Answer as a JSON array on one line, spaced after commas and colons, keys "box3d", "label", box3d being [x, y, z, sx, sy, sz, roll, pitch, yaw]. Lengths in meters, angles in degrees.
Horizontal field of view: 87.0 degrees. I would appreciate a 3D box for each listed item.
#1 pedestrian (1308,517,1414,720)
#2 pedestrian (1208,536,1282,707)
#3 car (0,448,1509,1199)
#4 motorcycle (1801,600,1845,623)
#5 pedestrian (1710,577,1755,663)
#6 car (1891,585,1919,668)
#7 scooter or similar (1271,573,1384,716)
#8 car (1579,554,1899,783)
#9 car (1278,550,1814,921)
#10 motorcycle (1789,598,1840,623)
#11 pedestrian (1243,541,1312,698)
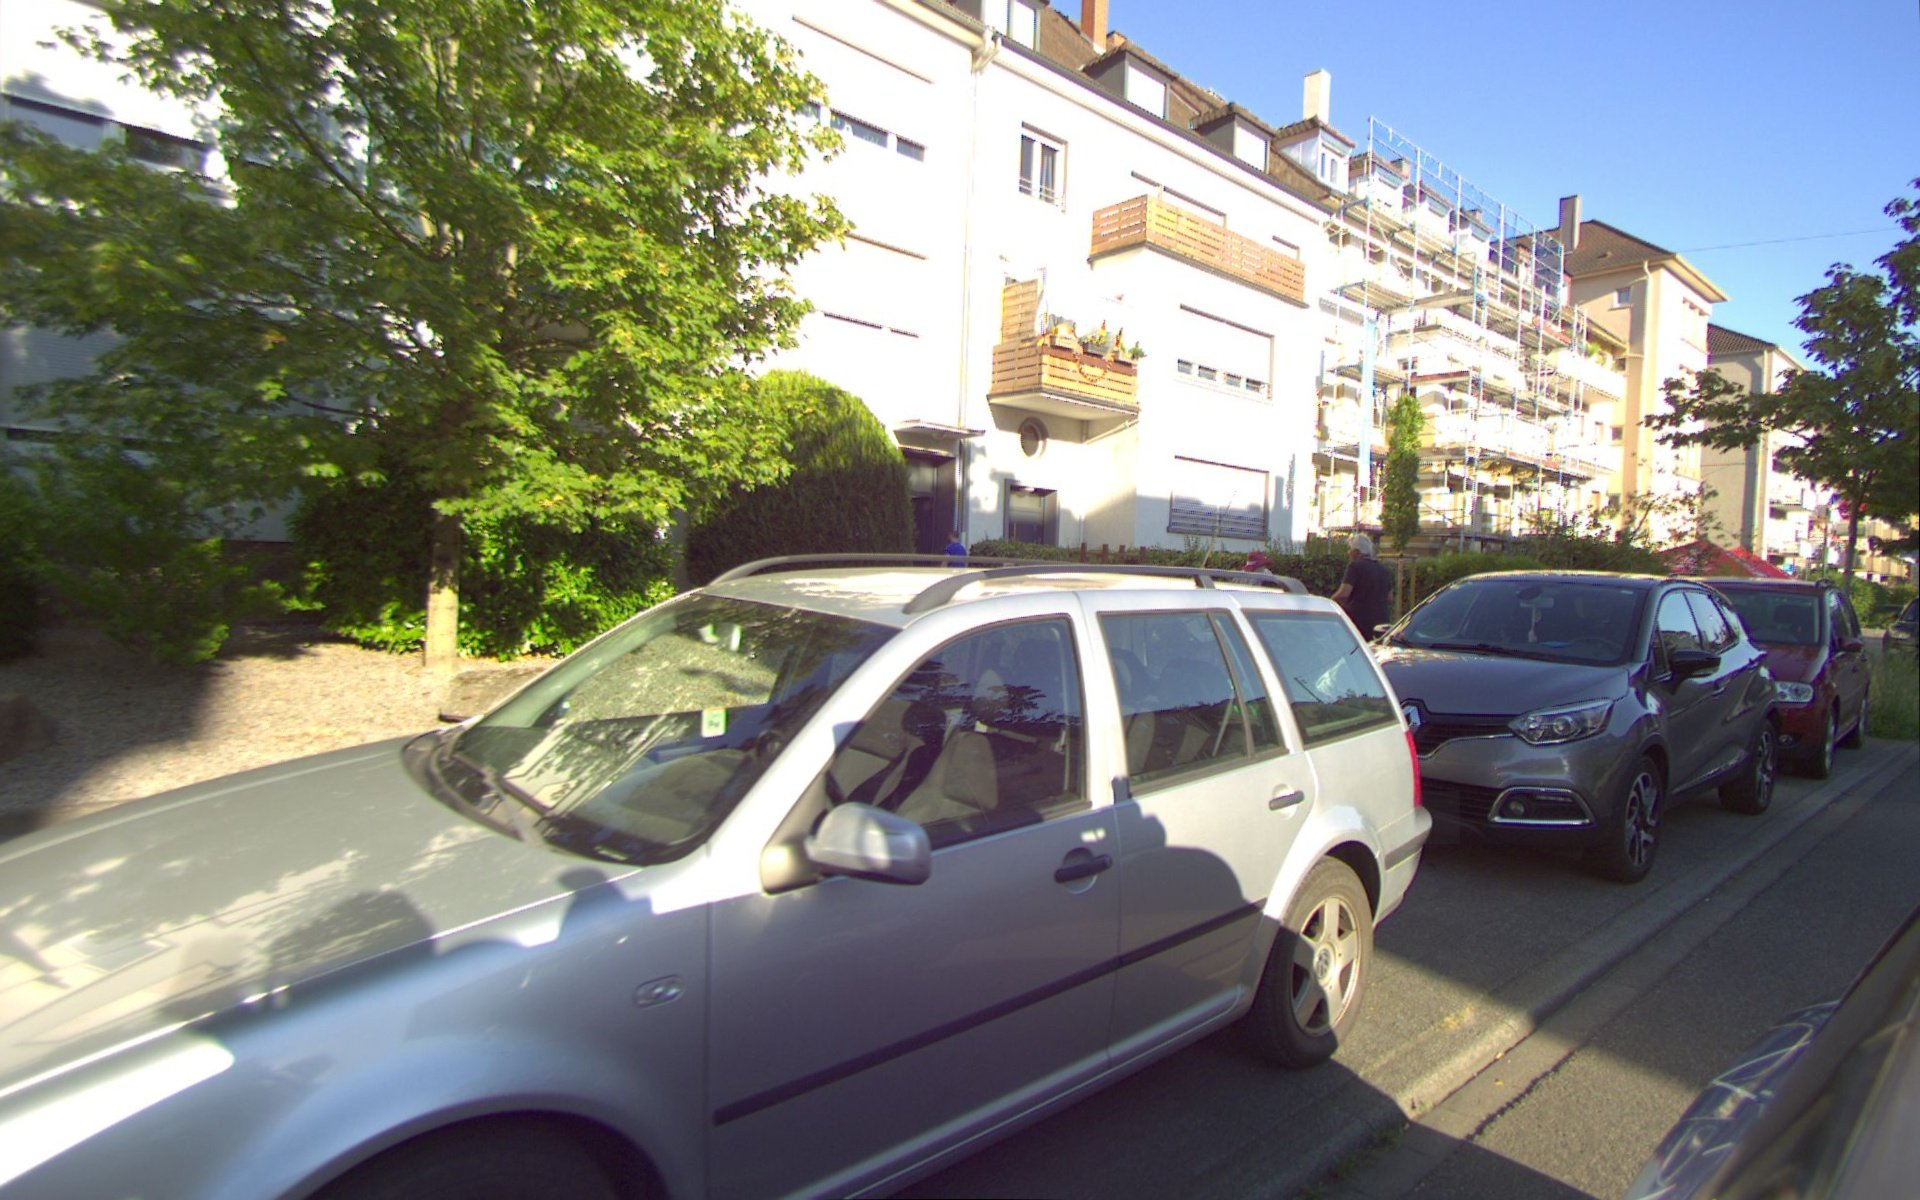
[{"box3d": [3.857, 0.163, 9.739, 0.749, 1.872, 0.551, 1, 2, -34], "label": "pedestrian"}, {"box3d": [2.965, 0.204, 10.528, 0.511, 1.718, 0.518, 2, 1, 45], "label": "pedestrian"}, {"box3d": [-0.209, 0.552, 2.861, 4.338, 1.508, 1.640, 0, 3, -41], "label": "car"}, {"box3d": [46.096, 0.610, 54.041, 0.584, 1.125, 1.697, 0, 2, -39], "label": "motorcycle"}, {"box3d": [14.779, 0.364, 19.383, 0.553, 1.587, 0.740, 2, 1, 31], "label": "pedestrian"}, {"box3d": [21.031, 0.572, 21.215, 3.959, 1.652, 1.795, 0, 3, -42], "label": "car"}, {"box3d": [3.647, 0.414, 10.063, 0.707, 1.333, 0.749, 1, 1, -34], "label": "scooter or similar"}, {"box3d": [7.547, 0.481, 9.615, 4.521, 1.676, 1.723, 0, 2, -44], "label": "car"}, {"box3d": [3.829, 0.573, 6.326, 3.930, 1.587, 1.640, 0, 3, -41], "label": "car"}, {"box3d": [45.254, 0.559, 53.617, 1.981, 1.215, 0.764, 2, 1, 38], "label": "motorcycle"}, {"box3d": [3.593, 0.206, 11.457, 0.511, 1.718, 0.518, 2, 1, 45], "label": "pedestrian"}]
